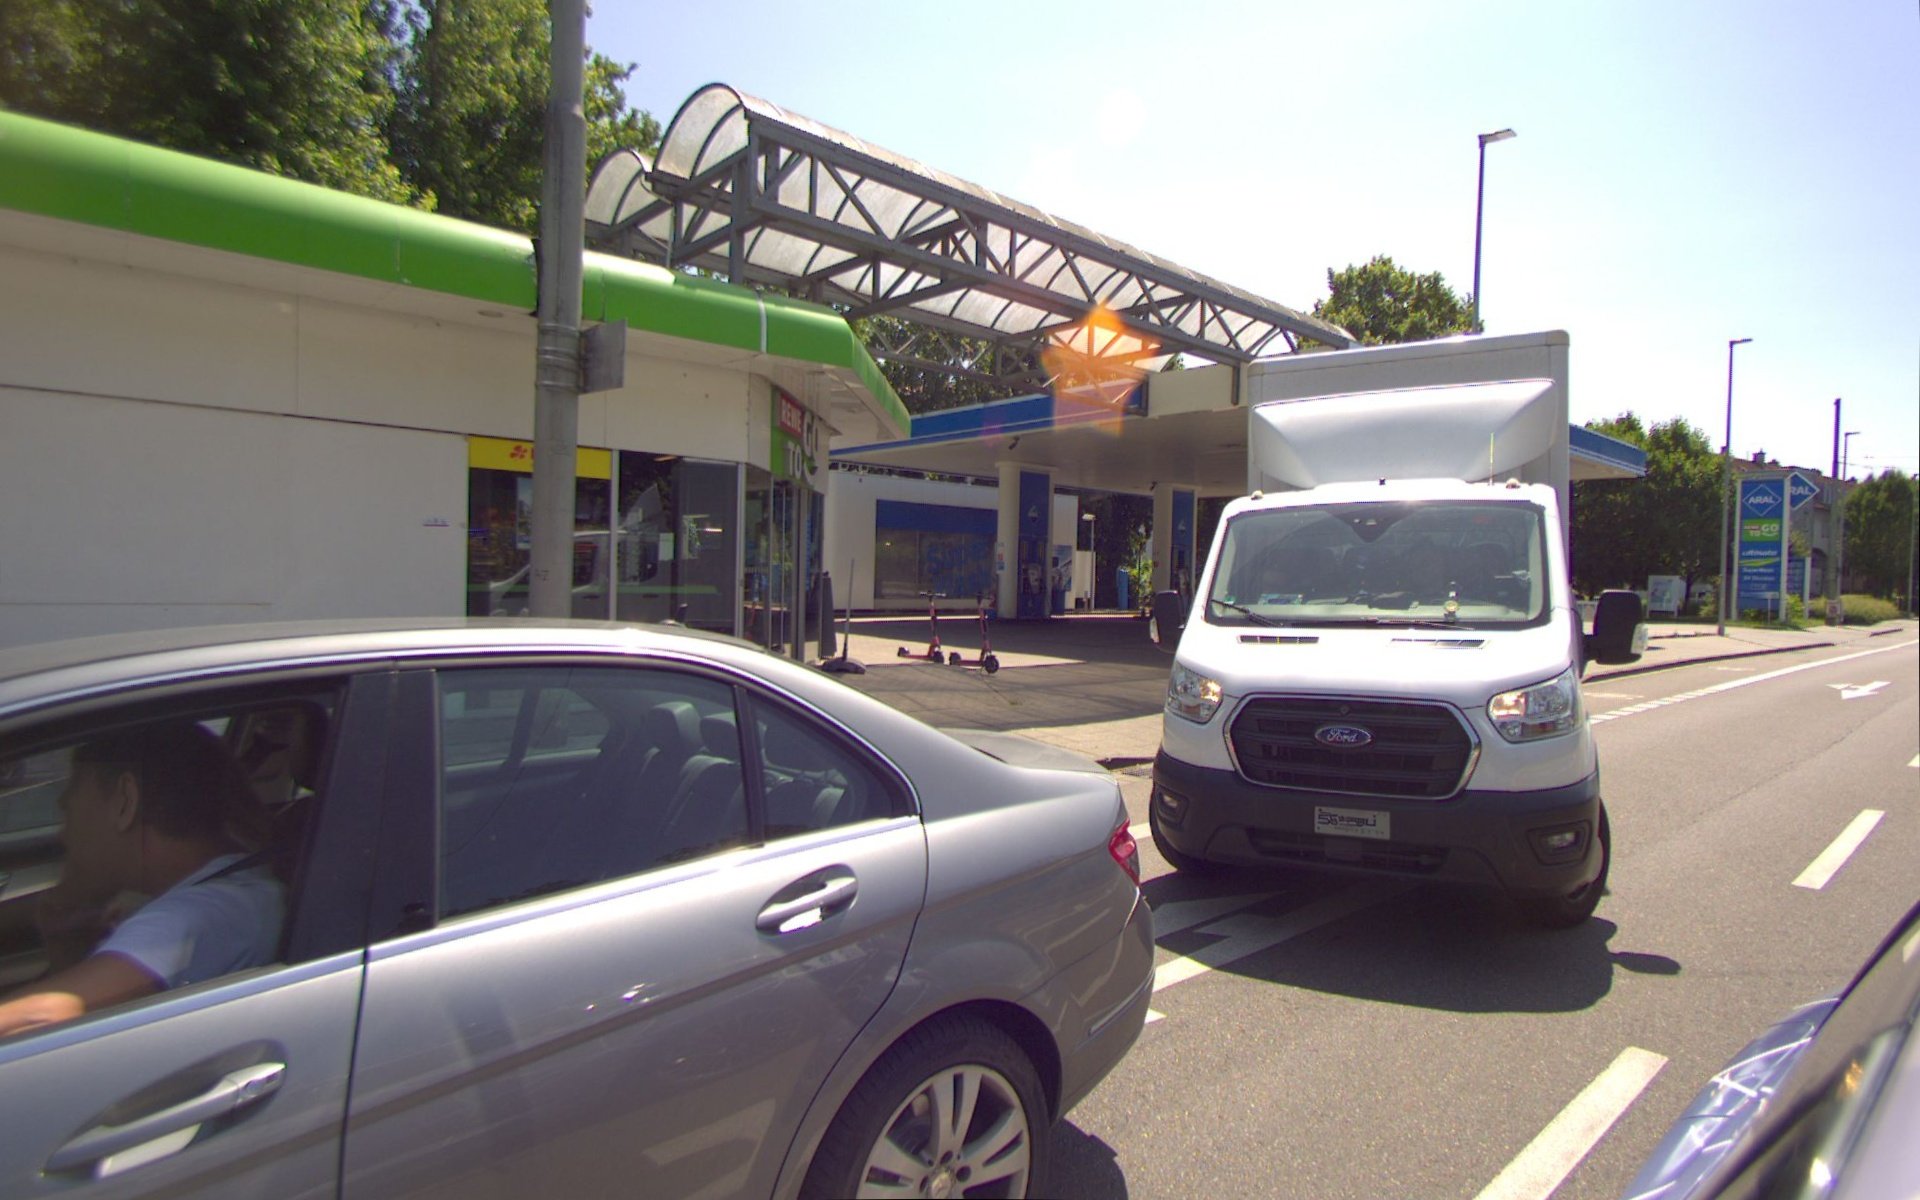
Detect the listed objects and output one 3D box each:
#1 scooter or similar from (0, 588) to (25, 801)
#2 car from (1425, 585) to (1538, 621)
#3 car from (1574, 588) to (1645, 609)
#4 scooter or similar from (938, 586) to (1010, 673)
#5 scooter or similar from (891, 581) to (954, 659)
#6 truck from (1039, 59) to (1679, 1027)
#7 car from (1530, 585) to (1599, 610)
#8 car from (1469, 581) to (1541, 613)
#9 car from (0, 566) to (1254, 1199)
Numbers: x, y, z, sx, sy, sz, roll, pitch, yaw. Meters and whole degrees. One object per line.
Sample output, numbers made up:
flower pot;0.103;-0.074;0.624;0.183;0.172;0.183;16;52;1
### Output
scooter or similar;-6.003;0.540;5.645;1.118;1.210;0.384;0;1;-37
car;22.487;0.126;43.708;4.057;1.439;1.722;1;1;-7
car;50.872;-0.113;79.323;1.961;1.540;4.229;0;1;-33
scooter or similar;0.201;0.421;15.401;0.404;1.256;1.176;0;1;-40
scooter or similar;-0.613;0.301;16.316;0.377;1.191;1.137;0;1;-40
truck;3.261;-0.272;7.607;2.405;3.433;7.757;2;1;28
car;44.860;-0.191;75.170;1.959;1.708;4.007;1;1;-27
car;30.926;-0.182;57.414;4.329;1.683;1.999;-1;2;-37
car;-1.475;0.680;1.851;4.340;1.467;1.799;0;1;-41
